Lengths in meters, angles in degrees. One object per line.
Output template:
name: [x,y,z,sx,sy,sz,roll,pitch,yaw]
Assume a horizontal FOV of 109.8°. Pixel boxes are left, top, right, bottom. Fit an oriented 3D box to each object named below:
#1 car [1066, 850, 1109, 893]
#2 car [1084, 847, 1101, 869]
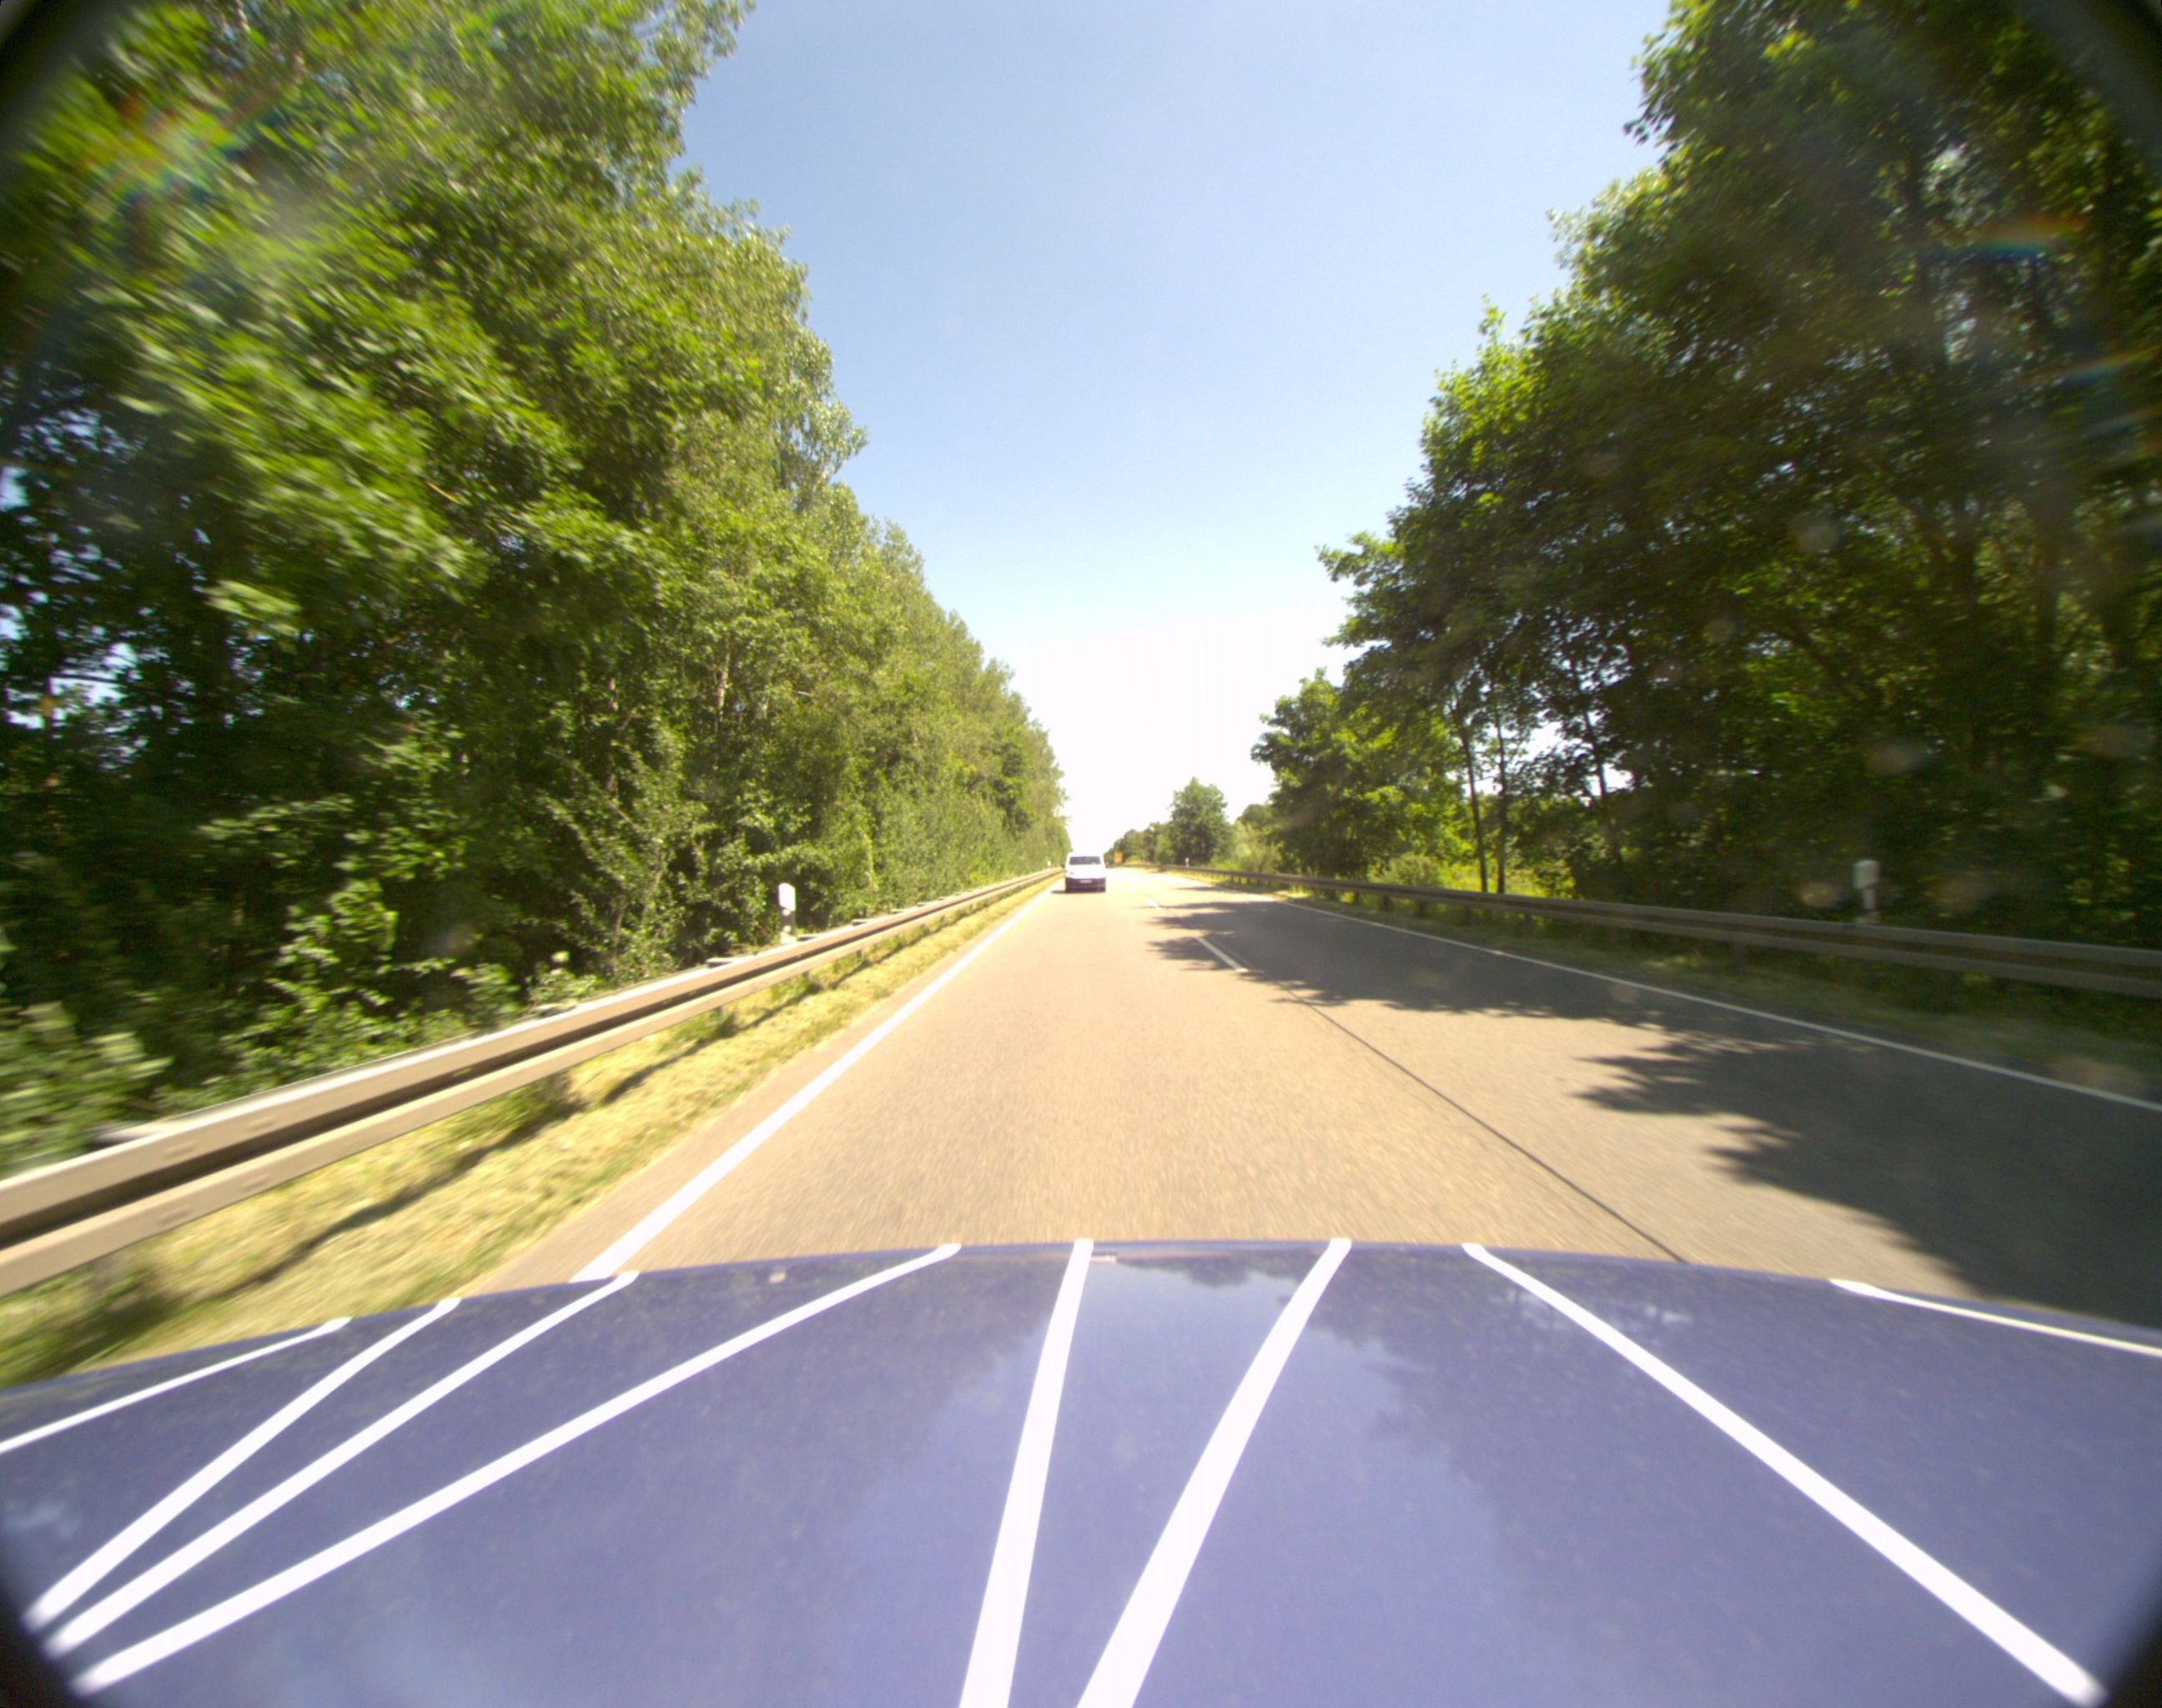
car: [0.322,0.755,34.347,1.782,1.743,4.513,-2,0,1]
car: [1.253,0.483,83.169,1.782,2.287,4.106,-2,0,1]
